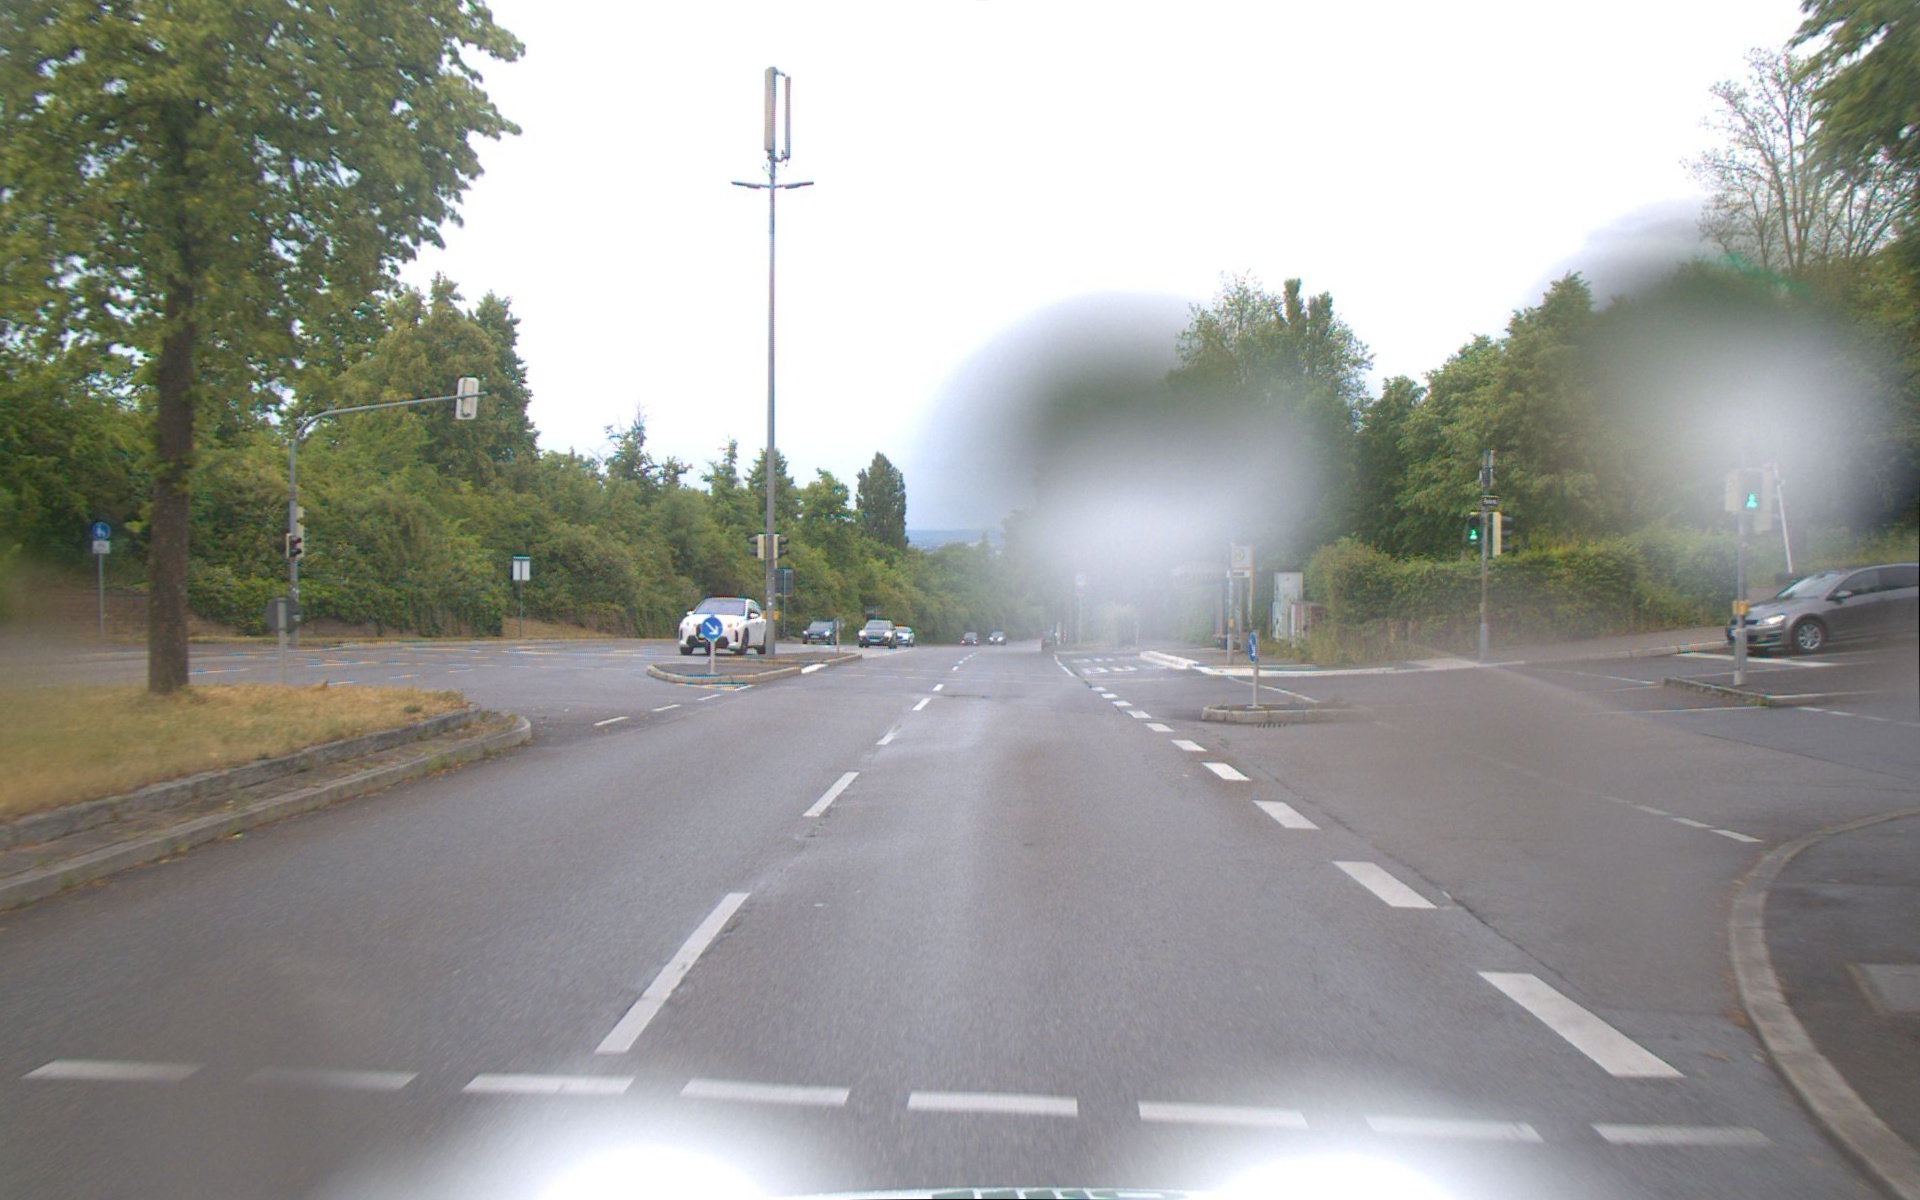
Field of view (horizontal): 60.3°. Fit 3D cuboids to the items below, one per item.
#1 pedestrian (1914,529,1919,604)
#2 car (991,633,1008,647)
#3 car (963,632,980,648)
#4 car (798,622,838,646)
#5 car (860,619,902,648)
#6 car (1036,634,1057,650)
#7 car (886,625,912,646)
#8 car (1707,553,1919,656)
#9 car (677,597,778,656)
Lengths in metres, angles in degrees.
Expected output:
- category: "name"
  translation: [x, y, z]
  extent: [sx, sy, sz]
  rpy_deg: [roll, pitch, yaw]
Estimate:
- category: "pedestrian"
  translation: [20.822, -0.726, 35.255]
  extent: [0.467, 1.611, 0.684]
  rpy_deg: [-1, 0, -31]
- category: "car"
  translation: [4.940, 5.049, 207.819]
  extent: [1.825, 1.617, 3.894]
  rpy_deg: [3, -1, 5]
- category: "car"
  translation: [1.334, 4.463, 185.050]
  extent: [1.689, 1.593, 3.893]
  rpy_deg: [3, -1, 3]
- category: "car"
  translation: [-8.805, 2.109, 103.058]
  extent: [1.781, 1.463, 4.456]
  rpy_deg: [1, -1, 4]
- category: "car"
  translation: [-4.199, 1.784, 88.439]
  extent: [1.741, 1.498, 4.646]
  rpy_deg: [1, -1, 3]
- category: "car"
  translation: [9.284, 4.499, 177.626]
  extent: [1.903, 1.619, 3.931]
  rpy_deg: [1, 0, 8]
- category: "car"
  translation: [-4.953, 2.906, 134.528]
  extent: [1.687, 1.619, 4.002]
  rpy_deg: [1, 0, 4]
- category: "car"
  translation: [16.202, 0.057, 30.432]
  extent: [3.999, 1.478, 1.887]
  rpy_deg: [-6, 0, -7]
- category: "car"
  translation: [-7.003, 0.806, 50.394]
  extent: [1.904, 1.664, 5.008]
  rpy_deg: [1, -1, 5]
